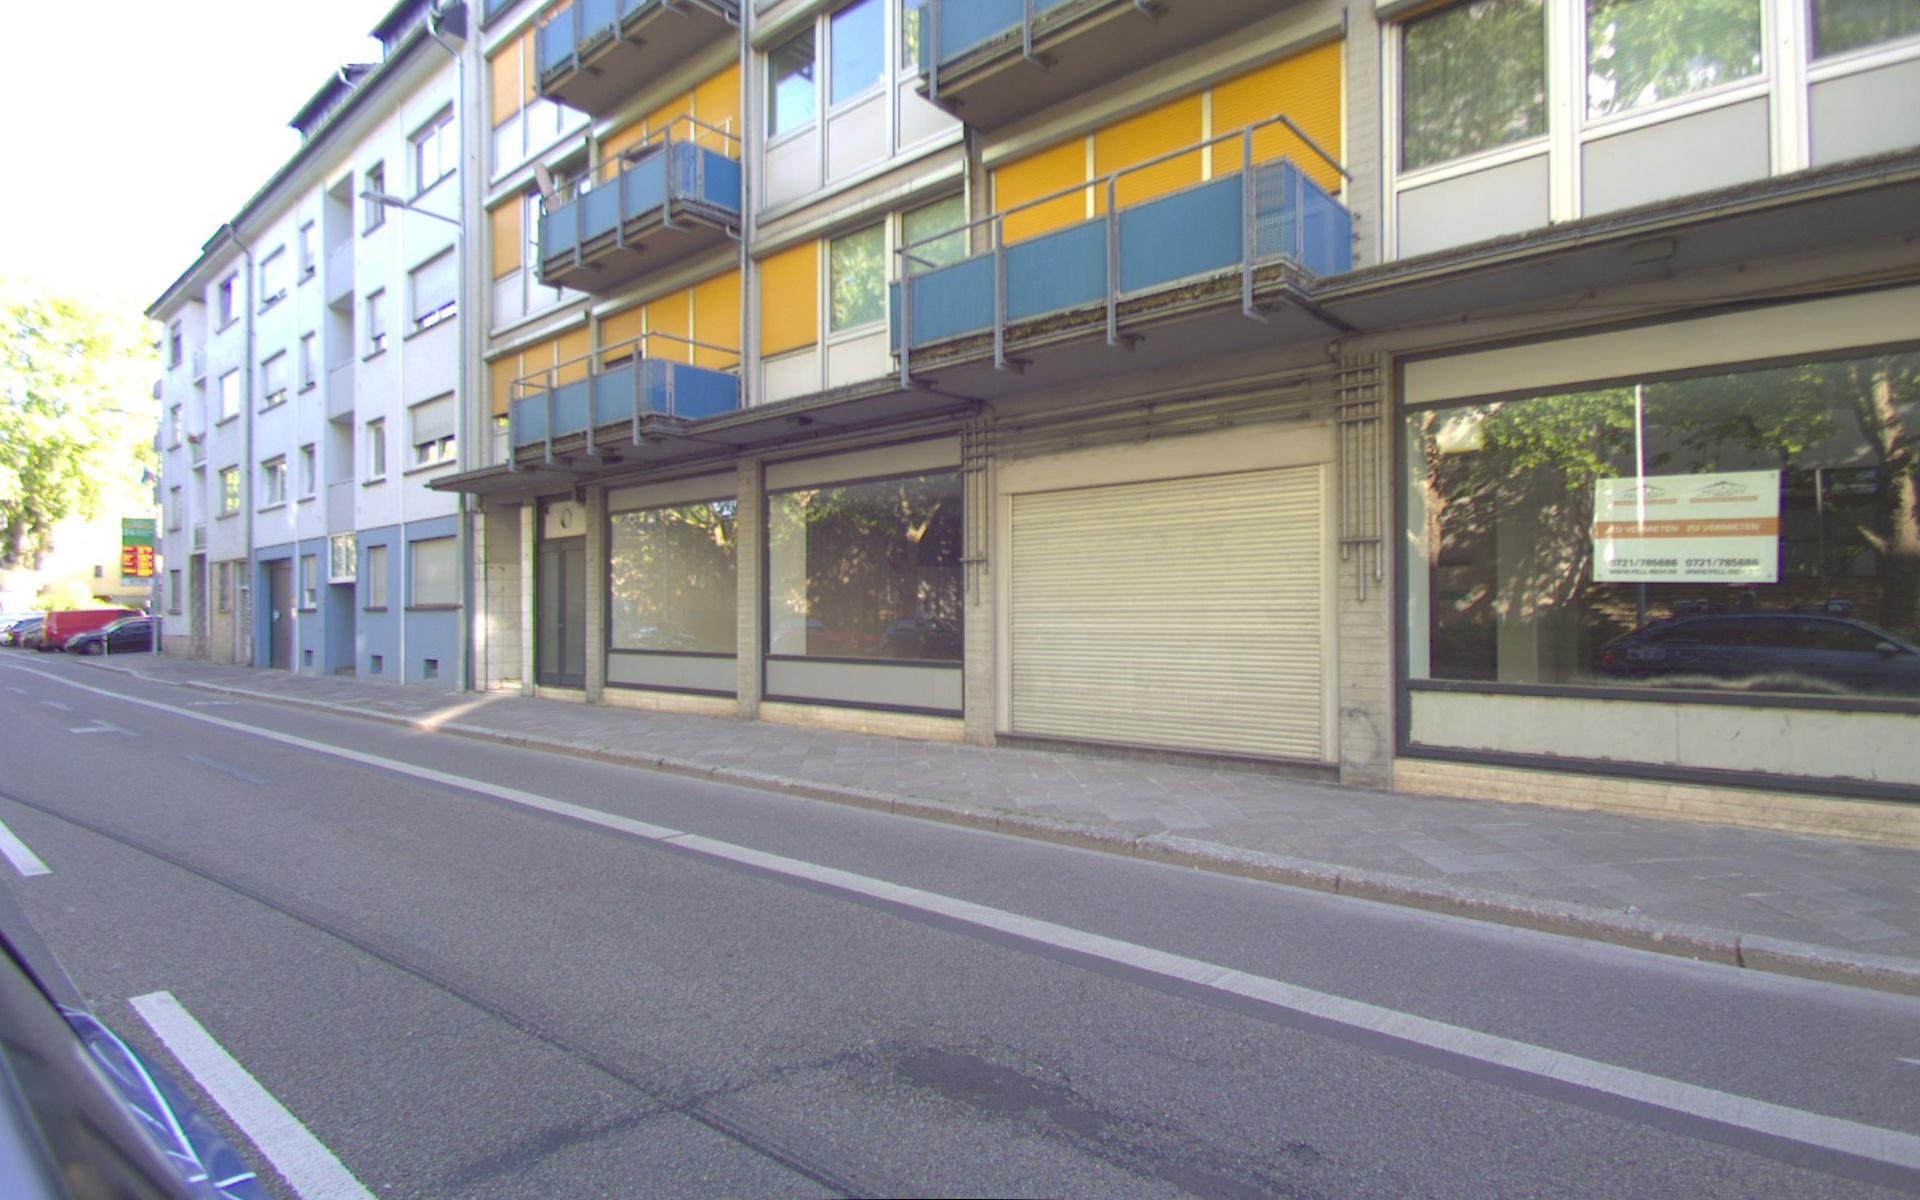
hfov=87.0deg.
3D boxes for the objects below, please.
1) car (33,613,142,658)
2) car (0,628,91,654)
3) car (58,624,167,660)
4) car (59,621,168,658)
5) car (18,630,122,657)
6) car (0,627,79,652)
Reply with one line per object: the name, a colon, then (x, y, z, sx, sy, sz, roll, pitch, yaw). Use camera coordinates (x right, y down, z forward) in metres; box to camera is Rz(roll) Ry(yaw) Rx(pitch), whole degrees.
car: (-40.653, 1.638, 47.222, 1.488, 1.923, 3.642, -4, -2, 39)
car: (-50.447, 2.231, 55.874, 1.345, 1.254, 3.638, -1, 0, 43)
car: (-36.677, 1.801, 43.842, 1.490, 1.398, 3.462, -1, 0, 43)
car: (-38.193, 1.758, 45.722, 1.490, 1.523, 3.638, -1, 0, 43)
car: (-42.815, 2.064, 48.737, 1.345, 1.137, 3.638, -1, 0, 43)
car: (-52.261, 2.239, 57.503, 1.345, 1.254, 3.228, -1, 0, 43)
